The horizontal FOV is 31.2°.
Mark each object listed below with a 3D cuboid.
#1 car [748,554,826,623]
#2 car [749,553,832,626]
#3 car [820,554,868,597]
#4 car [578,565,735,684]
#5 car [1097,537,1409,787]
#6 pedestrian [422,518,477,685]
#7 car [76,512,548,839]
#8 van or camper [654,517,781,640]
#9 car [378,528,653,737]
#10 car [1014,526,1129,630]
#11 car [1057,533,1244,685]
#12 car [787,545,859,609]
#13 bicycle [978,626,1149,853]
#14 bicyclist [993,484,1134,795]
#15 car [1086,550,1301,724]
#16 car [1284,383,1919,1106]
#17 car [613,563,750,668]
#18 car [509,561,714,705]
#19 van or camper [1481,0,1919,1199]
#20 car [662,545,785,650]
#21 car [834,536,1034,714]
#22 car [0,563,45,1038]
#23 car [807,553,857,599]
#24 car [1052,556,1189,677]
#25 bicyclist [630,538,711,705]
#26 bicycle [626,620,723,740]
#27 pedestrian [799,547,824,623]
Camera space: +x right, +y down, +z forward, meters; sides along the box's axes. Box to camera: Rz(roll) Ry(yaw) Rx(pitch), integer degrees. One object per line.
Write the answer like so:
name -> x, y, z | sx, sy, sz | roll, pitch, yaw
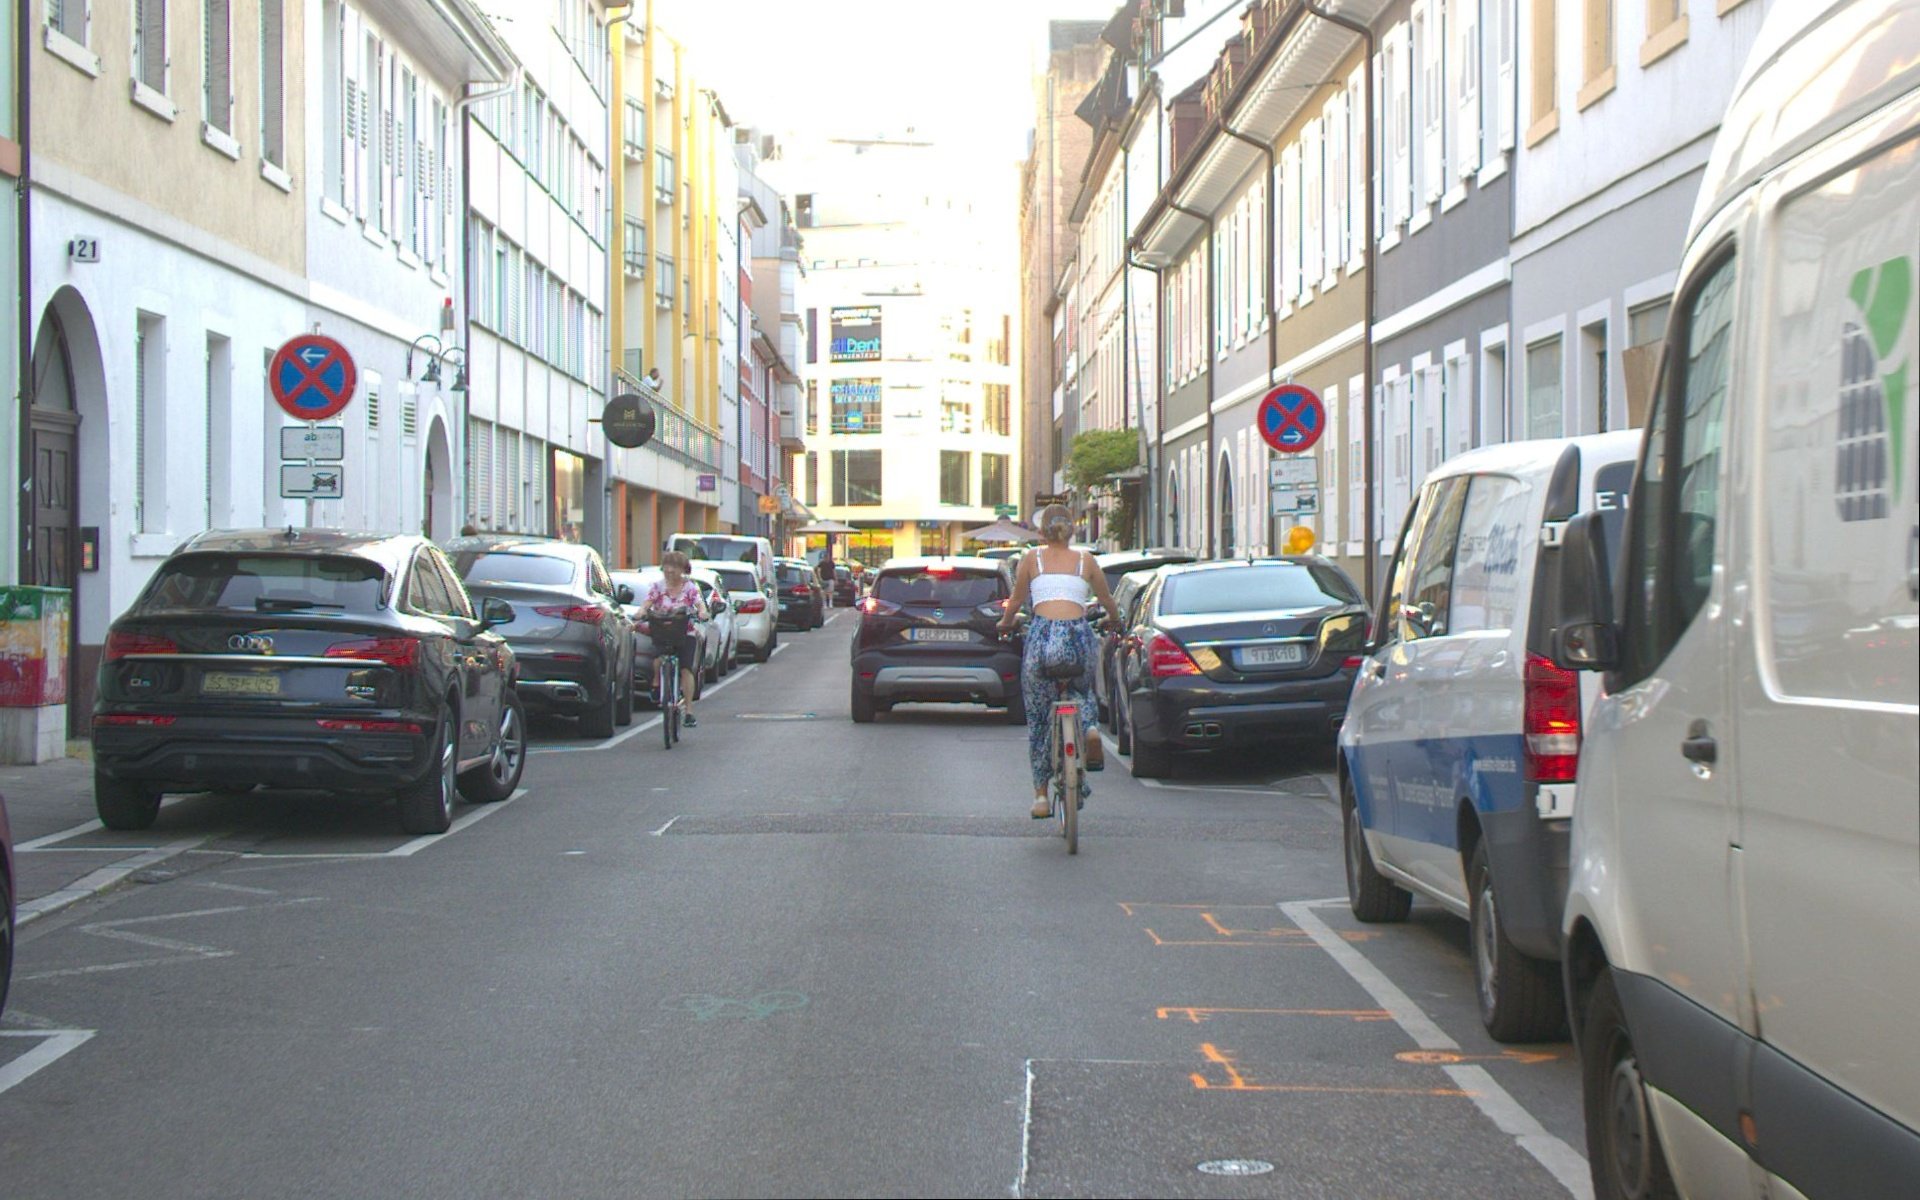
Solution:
car -> -4.097, -0.295, 81.739 | 1.653, 1.555, 3.606 | 1, 1, 0
car -> -3.751, -0.253, 76.434 | 1.653, 1.555, 3.606 | 1, 1, 0
car -> -4.331, -0.934, 128.576 | 1.653, 1.555, 3.606 | 1, 1, 0
car -> -3.829, 0.279, 43.838 | 1.653, 1.406, 3.902 | 1, 1, 0
car -> 2.015, 0.377, 24.998 | 1.819, 1.525, 5.071 | -3, 1, 1
pedestrian -> -6.163, 0.018, 41.492 | 0.610, 2.007, 0.450 | 0, 0, -3
car -> -3.580, 0.358, 19.812 | 1.803, 1.671, 4.490 | 0, 1, 1
van or camper -> -4.155, -0.386, 59.565 | 1.844, 2.006, 4.678 | 1, 1, 0
car -> -3.912, 0.245, 30.952 | 1.997, 1.701, 4.536 | 1, 1, -2
car -> 1.736, -0.360, 54.448 | 1.653, 1.555, 3.606 | 1, 1, 0
car -> 2.279, 0.075, 42.109 | 1.918, 1.732, 4.153 | 1, 1, -2
car -> -3.464, -0.601, 87.431 | 1.653, 1.555, 3.606 | 1, 1, 0
bicycle -> 0.512, 0.692, 17.762 | 0.613, 1.078, 1.809 | 0, 1, -7
bicyclist -> 0.528, 0.196, 17.675 | 0.620, 1.569, 0.684 | 0, 0, -7
car -> 2.109, 0.299, 32.011 | 1.676, 1.481, 4.000 | 1, 1, 0
car -> 2.435, 0.343, 11.964 | 1.941, 1.888, 5.317 | -3, 1, -1
car -> -3.930, 0.191, 48.928 | 1.653, 1.406, 3.606 | 1, 1, 0
car -> -3.715, 0.314, 37.293 | 1.918, 1.429, 4.294 | 1, 1, -2
van or camper -> 2.200, -0.002, 4.359 | 2.050, 2.628, 7.063 | 0, 1, 0
car -> -3.677, -0.062, 53.906 | 1.653, 1.555, 3.606 | 1, 1, 0
car -> -0.272, 0.205, 33.770 | 1.819, 1.612, 4.000 | 1, 1, -1
car -> -3.701, 0.603, 8.452 | 1.765, 1.397, 4.263 | 0, 1, 0
car -> -4.523, -0.863, 121.806 | 1.653, 1.555, 3.606 | 1, 1, 0
car -> 2.155, 0.194, 46.863 | 1.653, 1.555, 3.606 | 1, 1, 0
bicyclist -> -2.406, 0.174, 28.583 | 0.606, 1.365, 0.621 | 0, 0, 1
bicycle -> -2.359, 0.648, 28.546 | 0.613, 0.929, 1.886 | 0, 1, 1
pedestrian -> -3.462, -0.350, 80.201 | 0.554, 1.746, 0.568 | 0, 0, -3
